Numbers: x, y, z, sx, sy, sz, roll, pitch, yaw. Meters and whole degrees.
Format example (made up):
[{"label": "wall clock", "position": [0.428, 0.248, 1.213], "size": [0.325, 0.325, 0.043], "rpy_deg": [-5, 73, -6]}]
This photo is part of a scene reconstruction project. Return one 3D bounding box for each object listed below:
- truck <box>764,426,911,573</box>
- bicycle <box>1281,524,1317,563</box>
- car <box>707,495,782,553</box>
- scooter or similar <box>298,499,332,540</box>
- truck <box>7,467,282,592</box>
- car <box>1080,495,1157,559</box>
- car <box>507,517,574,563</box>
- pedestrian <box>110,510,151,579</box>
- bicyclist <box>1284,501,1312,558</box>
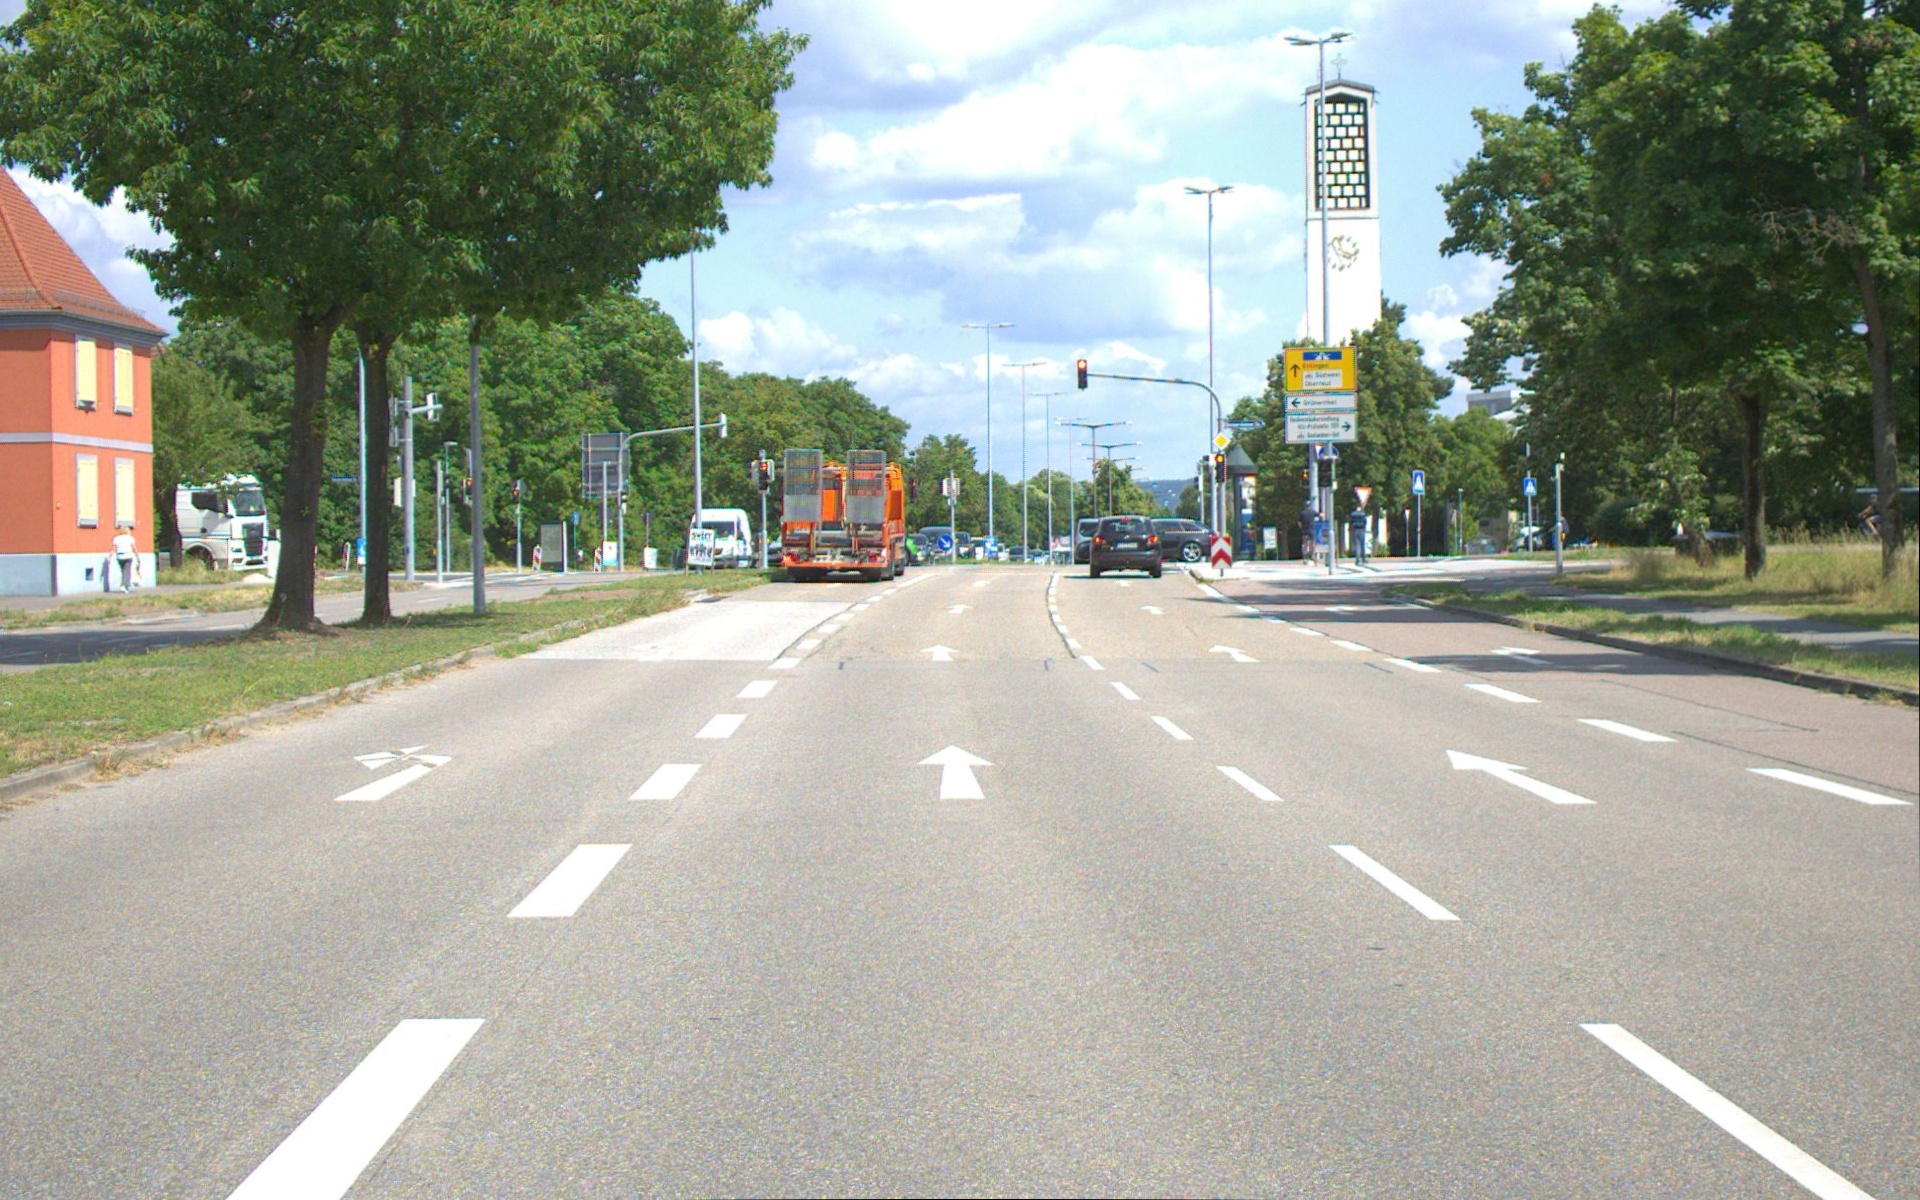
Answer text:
[{"label": "truck", "position": [-2.991, -2.438, 87.235], "size": [3.071, 3.402, 11.068], "rpy_deg": [2, 0, 1]}, {"label": "bicycle", "position": [9.854, -1.634, 99.935], "size": [0.648, 1.104, 1.926], "rpy_deg": [2, 0, 17]}, {"label": "car", "position": [-6.216, -2.179, 99.679], "size": [1.732, 1.503, 4.652], "rpy_deg": [-4, 0, 1]}, {"label": "scooter or similar", "position": [-18.601, -2.318, 99.173], "size": [0.589, 1.159, 1.762], "rpy_deg": [2, 0, 1]}, {"label": "truck", "position": [-27.759, -2.391, 117.071], "size": [8.615, 3.957, 2.967], "rpy_deg": [2, 0, 15]}, {"label": "car", "position": [4.022, -1.846, 87.763], "size": [1.799, 1.547, 4.000], "rpy_deg": [2, 0, 1]}, {"label": "car", "position": [-13.999, -1.987, 114.816], "size": [1.636, 1.480, 3.992], "rpy_deg": [2, 0, 1]}, {"label": "pedestrian", "position": [-19.412, -1.300, 80.466], "size": [0.696, 1.578, 0.851], "rpy_deg": [2, 0, 1]}, {"label": "bicyclist", "position": [9.809, -2.044, 99.746], "size": [0.648, 1.655, 0.649], "rpy_deg": [2, 0, 17]}]
